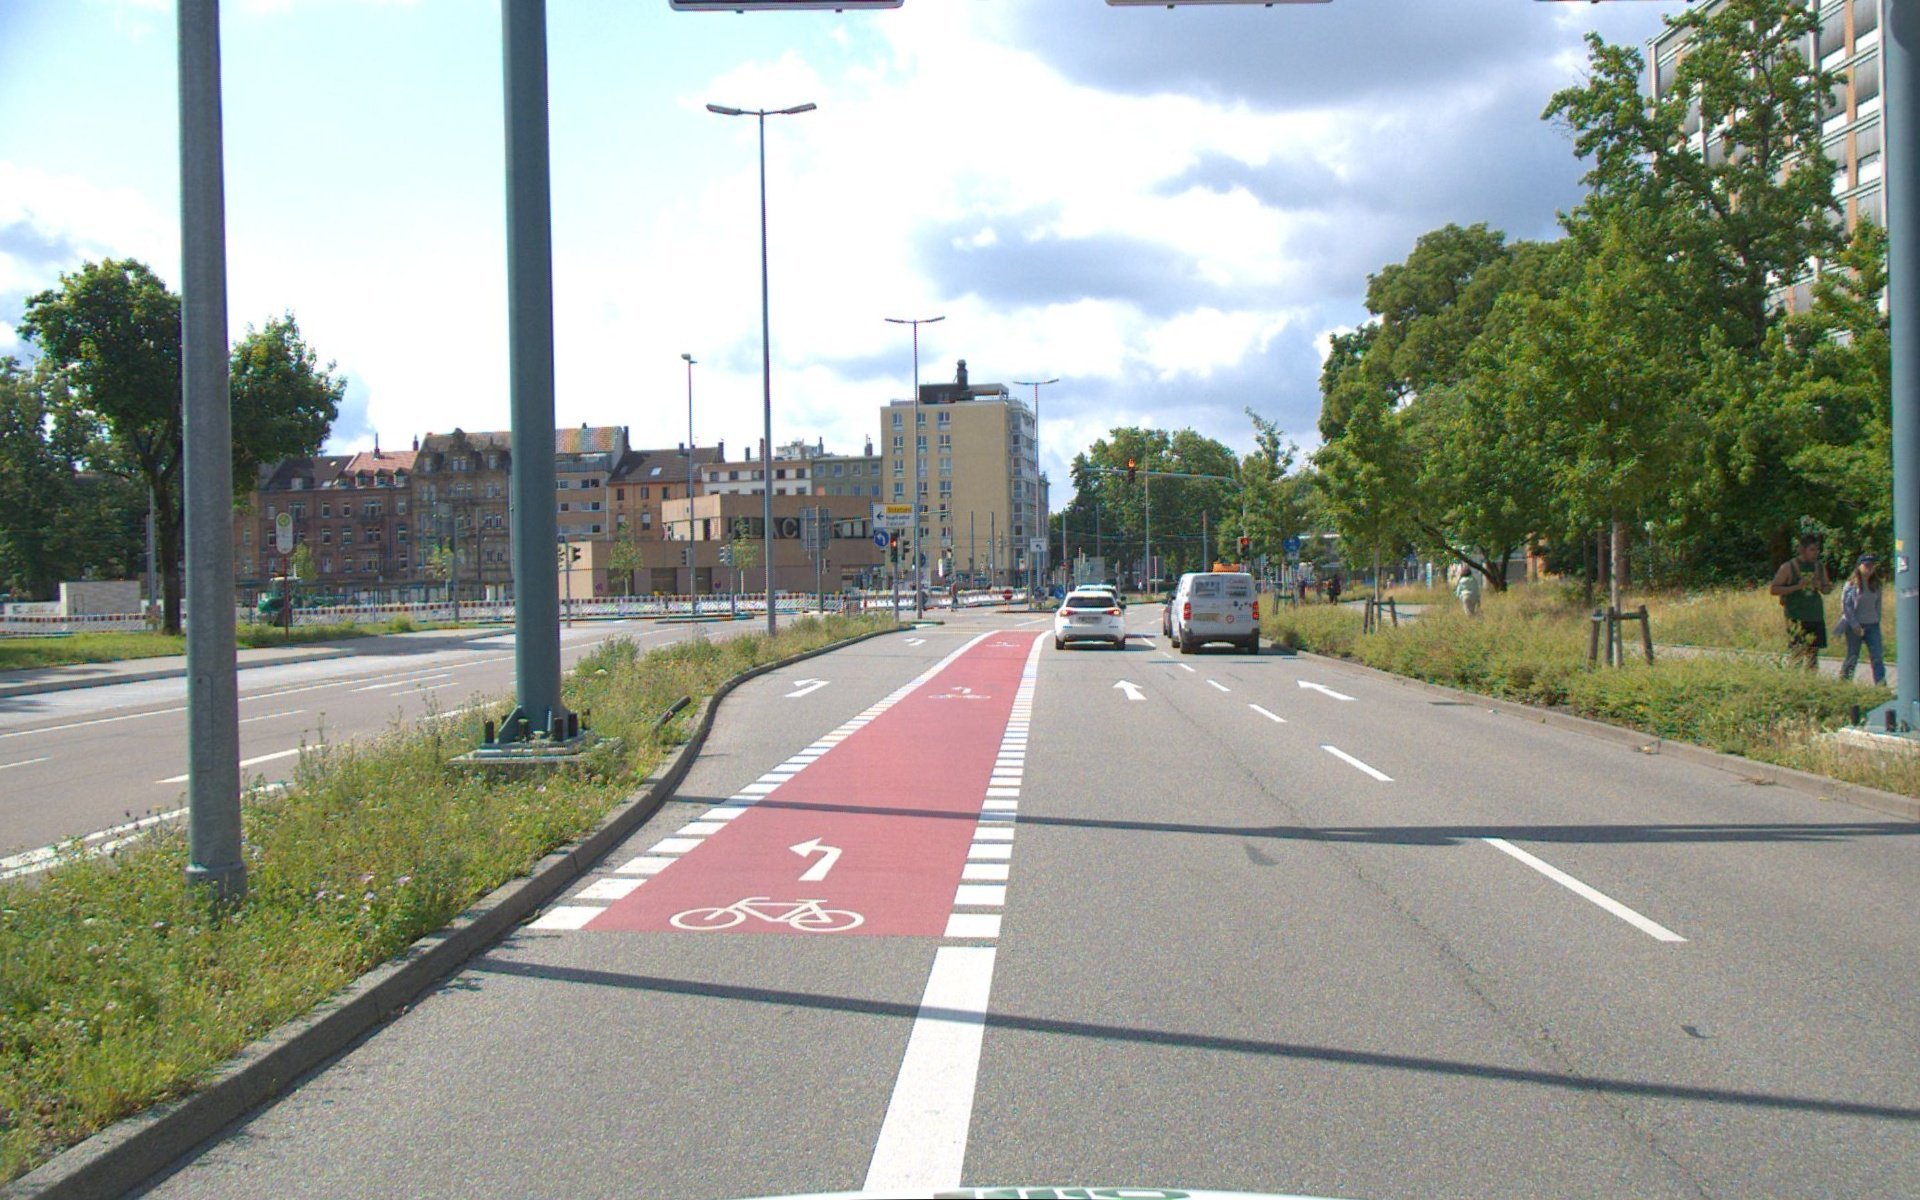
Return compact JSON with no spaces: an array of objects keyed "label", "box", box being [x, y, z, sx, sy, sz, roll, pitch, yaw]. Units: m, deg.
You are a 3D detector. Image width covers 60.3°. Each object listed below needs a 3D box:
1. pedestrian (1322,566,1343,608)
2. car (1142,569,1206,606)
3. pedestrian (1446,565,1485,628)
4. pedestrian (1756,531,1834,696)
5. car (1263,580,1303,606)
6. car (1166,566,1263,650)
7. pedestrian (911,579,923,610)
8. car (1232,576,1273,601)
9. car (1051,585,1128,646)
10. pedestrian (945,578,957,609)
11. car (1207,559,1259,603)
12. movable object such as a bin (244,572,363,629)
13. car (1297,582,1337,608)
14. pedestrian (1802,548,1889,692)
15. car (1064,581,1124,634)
[{"label":"pedestrian","box":[15.558,-0.540,69.105,0.726,1.766,0.679,-1,0,7]},{"label":"car","box":[11.625,-0.668,89.766,1.958,1.847,3.990,2,0,32]},{"label":"pedestrian","box":[13.642,-0.093,44.640,0.849,1.667,0.721,-1,0,5]},{"label":"pedestrian","box":[9.500,0.146,18.840,0.555,1.833,0.639,-1,0,3]},{"label":"car","box":[26.421,-0.603,135.068,1.953,1.972,4.634,-2,0,27]},{"label":"car","box":[6.177,0.161,40.620,1.901,1.902,4.828,-1,1,4]},{"label":"pedestrian","box":[-2.447,-0.307,94.279,0.513,1.763,0.624,-1,0,13]},{"label":"car","box":[22.717,-0.875,128.543,1.955,1.858,3.994,-2,0,28]},{"label":"car","box":[3.335,0.368,42.786,1.864,1.448,4.387,-1,1,4]},{"label":"pedestrian","box":[-0.509,-0.365,92.861,0.513,1.763,0.624,-1,0,13]},{"label":"car","box":[18.120,-1.281,109.672,2.088,2.829,4.634,-2,0,27]},{"label":"movable object such as a bin","box":[-35.281,0.020,88.983,5.500,2.935,2.251,-2,0,-44]},{"label":"car","box":[28.649,-0.405,132.606,1.953,1.972,4.634,-2,0,27]},{"label":"pedestrian","box":[10.171,0.220,19.018,0.610,1.608,0.708,-1,0,3]},{"label":"car","box":[4.121,0.186,51.312,1.753,1.566,4.013,0,1,4]}]
